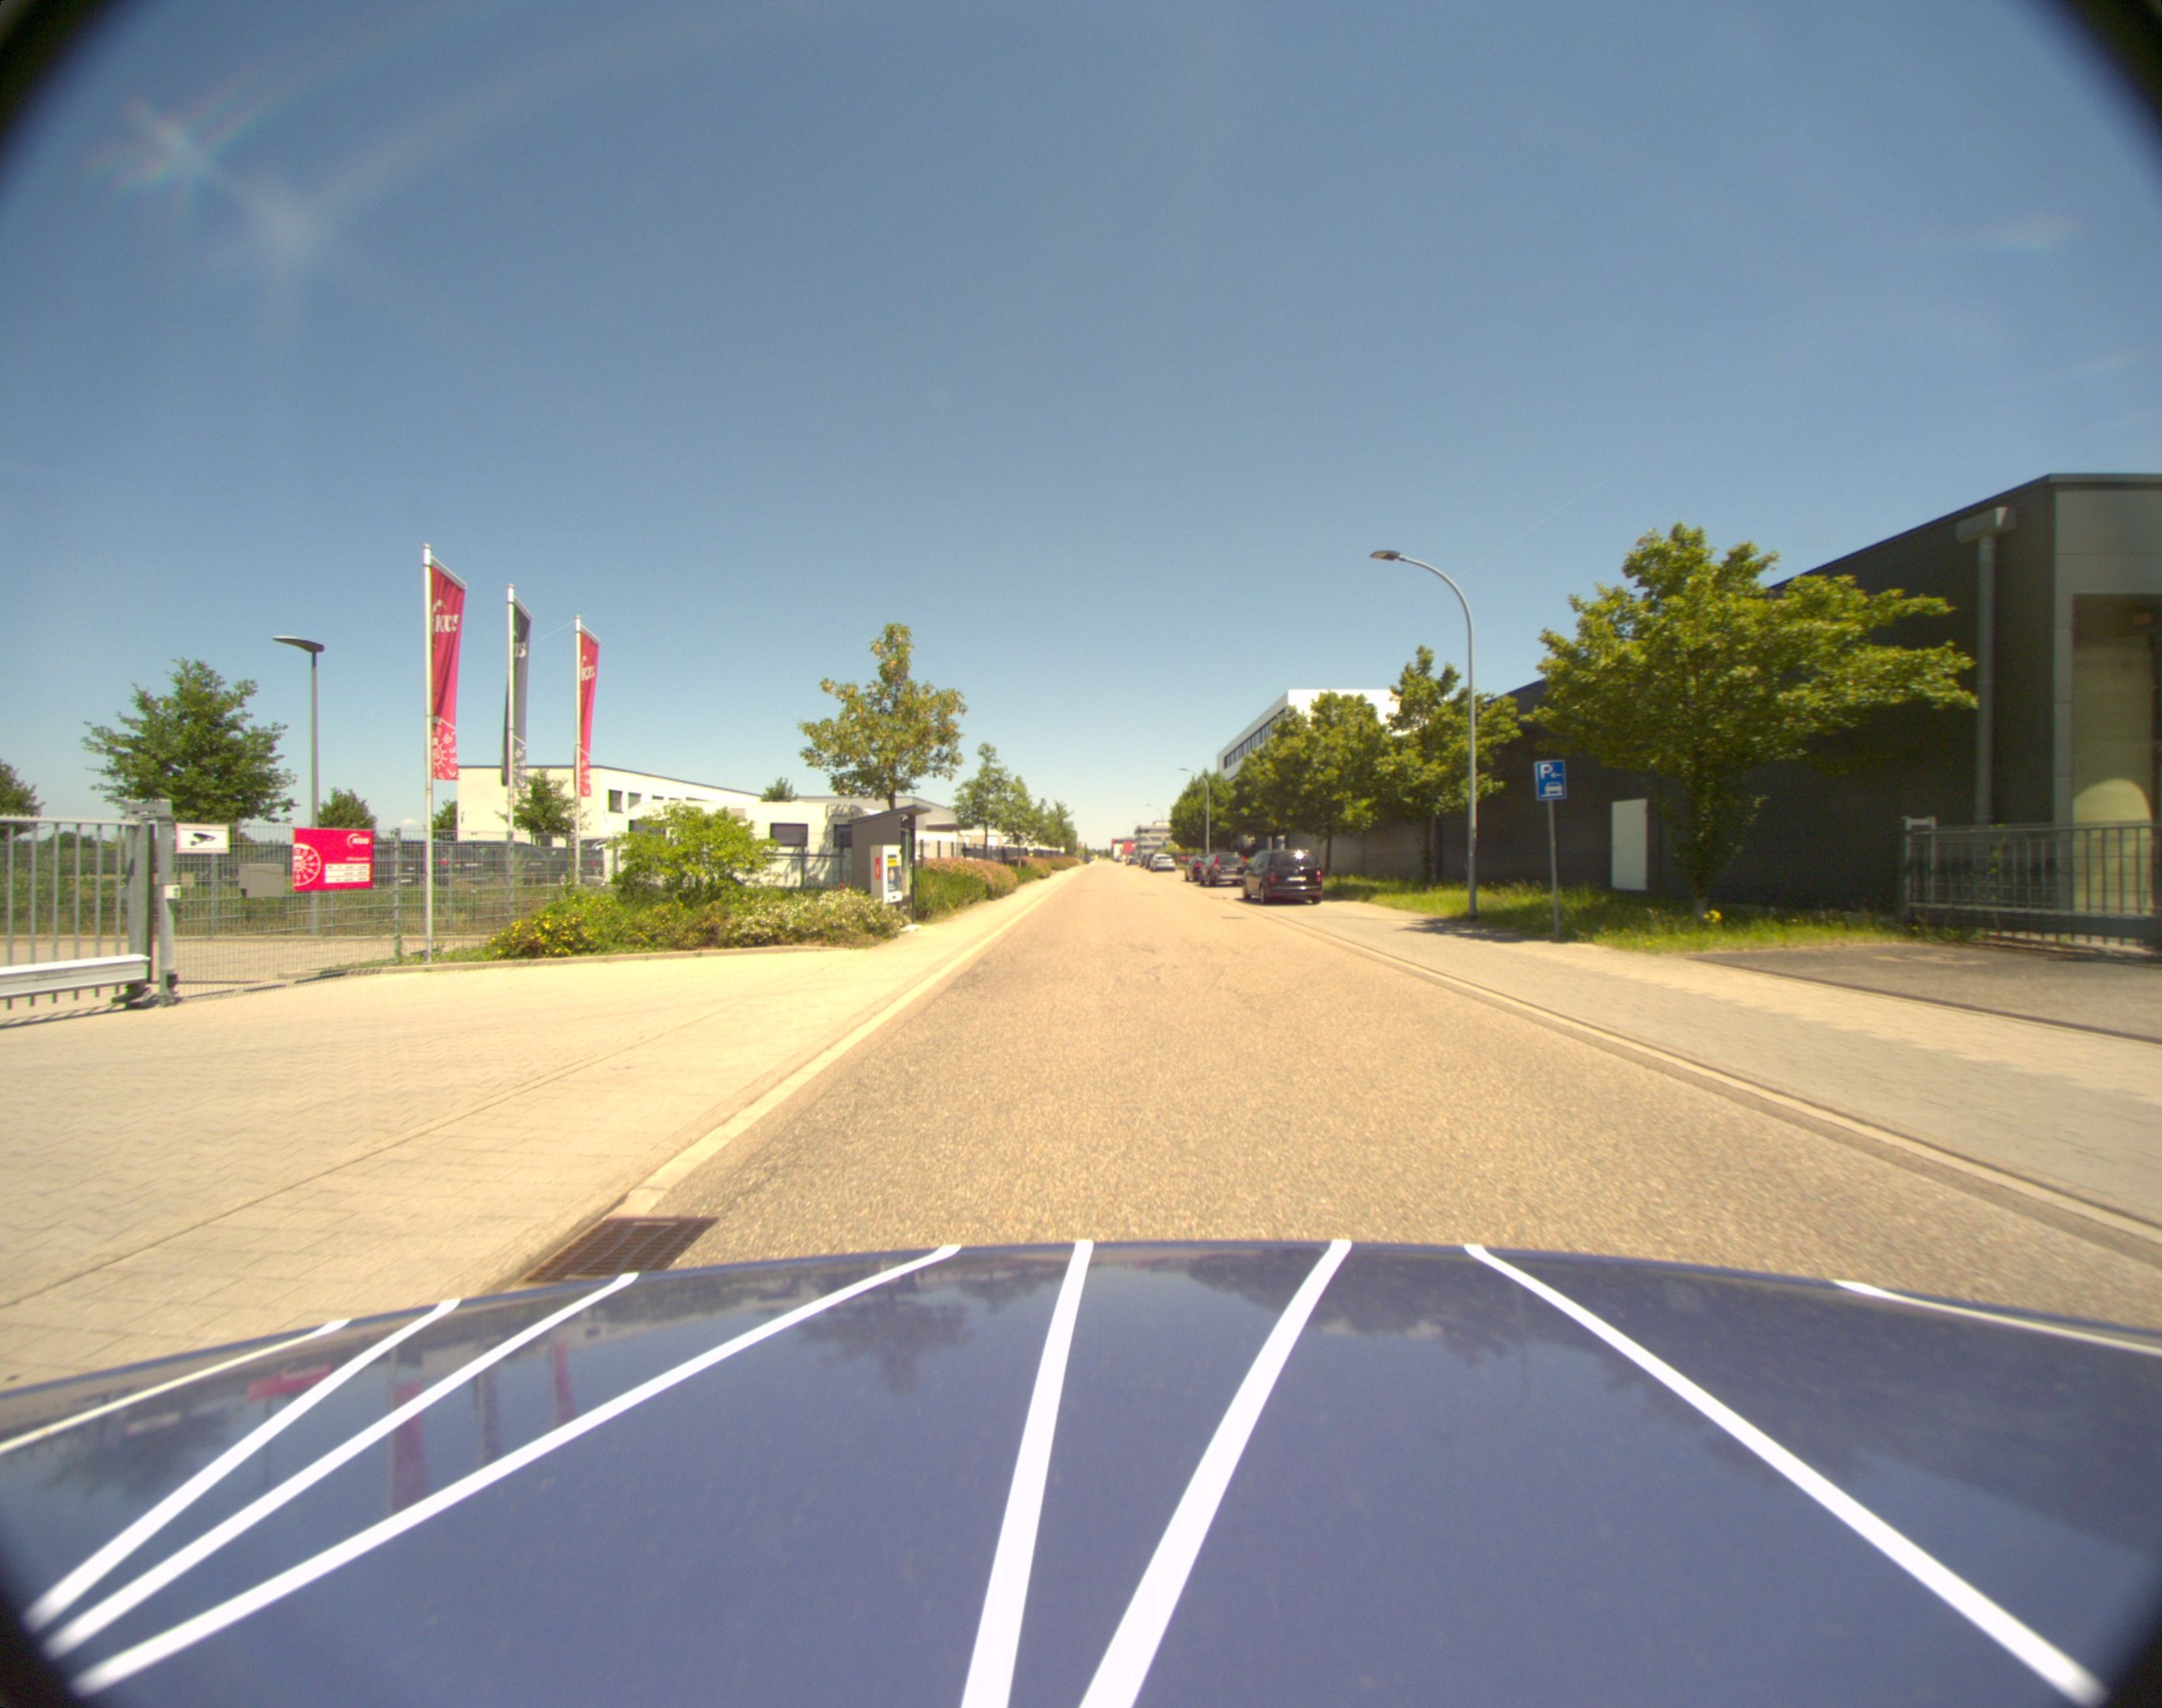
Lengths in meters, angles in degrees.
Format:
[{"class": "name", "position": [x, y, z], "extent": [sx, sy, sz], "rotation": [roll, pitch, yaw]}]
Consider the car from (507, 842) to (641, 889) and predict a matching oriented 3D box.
[{"class": "car", "position": [-20.166, 0.447, 30.345], "extent": [4.051, 1.796, 1.918], "rotation": [1, 1, 1]}]

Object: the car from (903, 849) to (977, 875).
[{"class": "car", "position": [-8.318, 0.459, 44.925], "extent": [3.997, 1.513, 1.822], "rotation": [0, 1, 1]}]

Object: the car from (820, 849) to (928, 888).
[{"class": "car", "position": [-8.224, 0.561, 30.446], "extent": [3.850, 1.432, 1.806], "rotation": [1, 1, -2]}]

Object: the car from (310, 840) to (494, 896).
[{"class": "car", "position": [-19.595, 0.395, 22.038], "extent": [3.830, 1.534, 1.678], "rotation": [1, 1, 1]}]

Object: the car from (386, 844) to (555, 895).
[{"class": "car", "position": [-19.500, 0.475, 24.382], "extent": [4.051, 1.540, 1.748], "rotation": [1, 1, 1]}]

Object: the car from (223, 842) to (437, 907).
[{"class": "car", "position": [-19.279, 0.503, 19.629], "extent": [3.830, 1.567, 1.750], "rotation": [1, 1, 1]}]

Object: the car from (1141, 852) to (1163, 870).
[{"class": "car", "position": [7.129, 0.660, 76.777], "extent": [1.775, 1.614, 4.582], "rotation": [-4, 0, 1]}]

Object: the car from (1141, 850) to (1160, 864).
[{"class": "car", "position": [8.147, 0.374, 89.748], "extent": [1.775, 1.578, 4.481], "rotation": [-1, 0, 0]}]

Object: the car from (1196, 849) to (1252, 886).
[{"class": "car", "position": [6.664, 0.581, 35.858], "extent": [1.775, 1.602, 4.852], "rotation": [-1, 0, 0]}]

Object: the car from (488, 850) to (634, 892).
[{"class": "car", "position": [-18.603, 0.571, 27.285], "extent": [4.051, 1.423, 1.748], "rotation": [1, 1, 1]}]

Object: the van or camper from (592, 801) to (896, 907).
[{"class": "van or camper", "position": [-8.560, -0.016, 19.879], "extent": [6.774, 2.570, 2.636], "rotation": [0, 1, 1]}]

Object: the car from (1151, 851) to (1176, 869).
[{"class": "car", "position": [6.998, 0.506, 64.759], "extent": [1.775, 1.422, 3.940], "rotation": [-1, 0, 2]}]

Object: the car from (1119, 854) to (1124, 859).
[{"class": "car", "position": [12.798, 0.907, 240.047], "extent": [1.694, 1.481, 3.661], "rotation": [-2, 0, 2]}]

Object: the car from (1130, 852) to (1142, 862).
[{"class": "car", "position": [9.276, 0.507, 129.207], "extent": [1.678, 1.442, 4.069], "rotation": [-8, 0, 2]}]

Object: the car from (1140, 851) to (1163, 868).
[{"class": "car", "position": [6.509, 0.489, 70.178], "extent": [1.775, 1.422, 4.201], "rotation": [-4, 0, 2]}]

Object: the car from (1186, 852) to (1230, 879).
[{"class": "car", "position": [6.944, 0.599, 41.925], "extent": [1.775, 1.422, 4.201], "rotation": [-1, 0, 0]}]

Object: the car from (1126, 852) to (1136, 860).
[{"class": "car", "position": [9.582, 0.409, 144.979], "extent": [1.678, 1.521, 3.910], "rotation": [-1, 0, 2]}]

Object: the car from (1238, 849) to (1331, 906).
[{"class": "car", "position": [6.240, 0.658, 23.731], "extent": [1.775, 1.602, 4.247], "rotation": [-1, 0, 0]}]

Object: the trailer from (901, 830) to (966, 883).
[{"class": "trailer", "position": [-6.993, 0.123, 36.147], "extent": [2.830, 2.389, 1.419], "rotation": [1, 1, -2]}]
